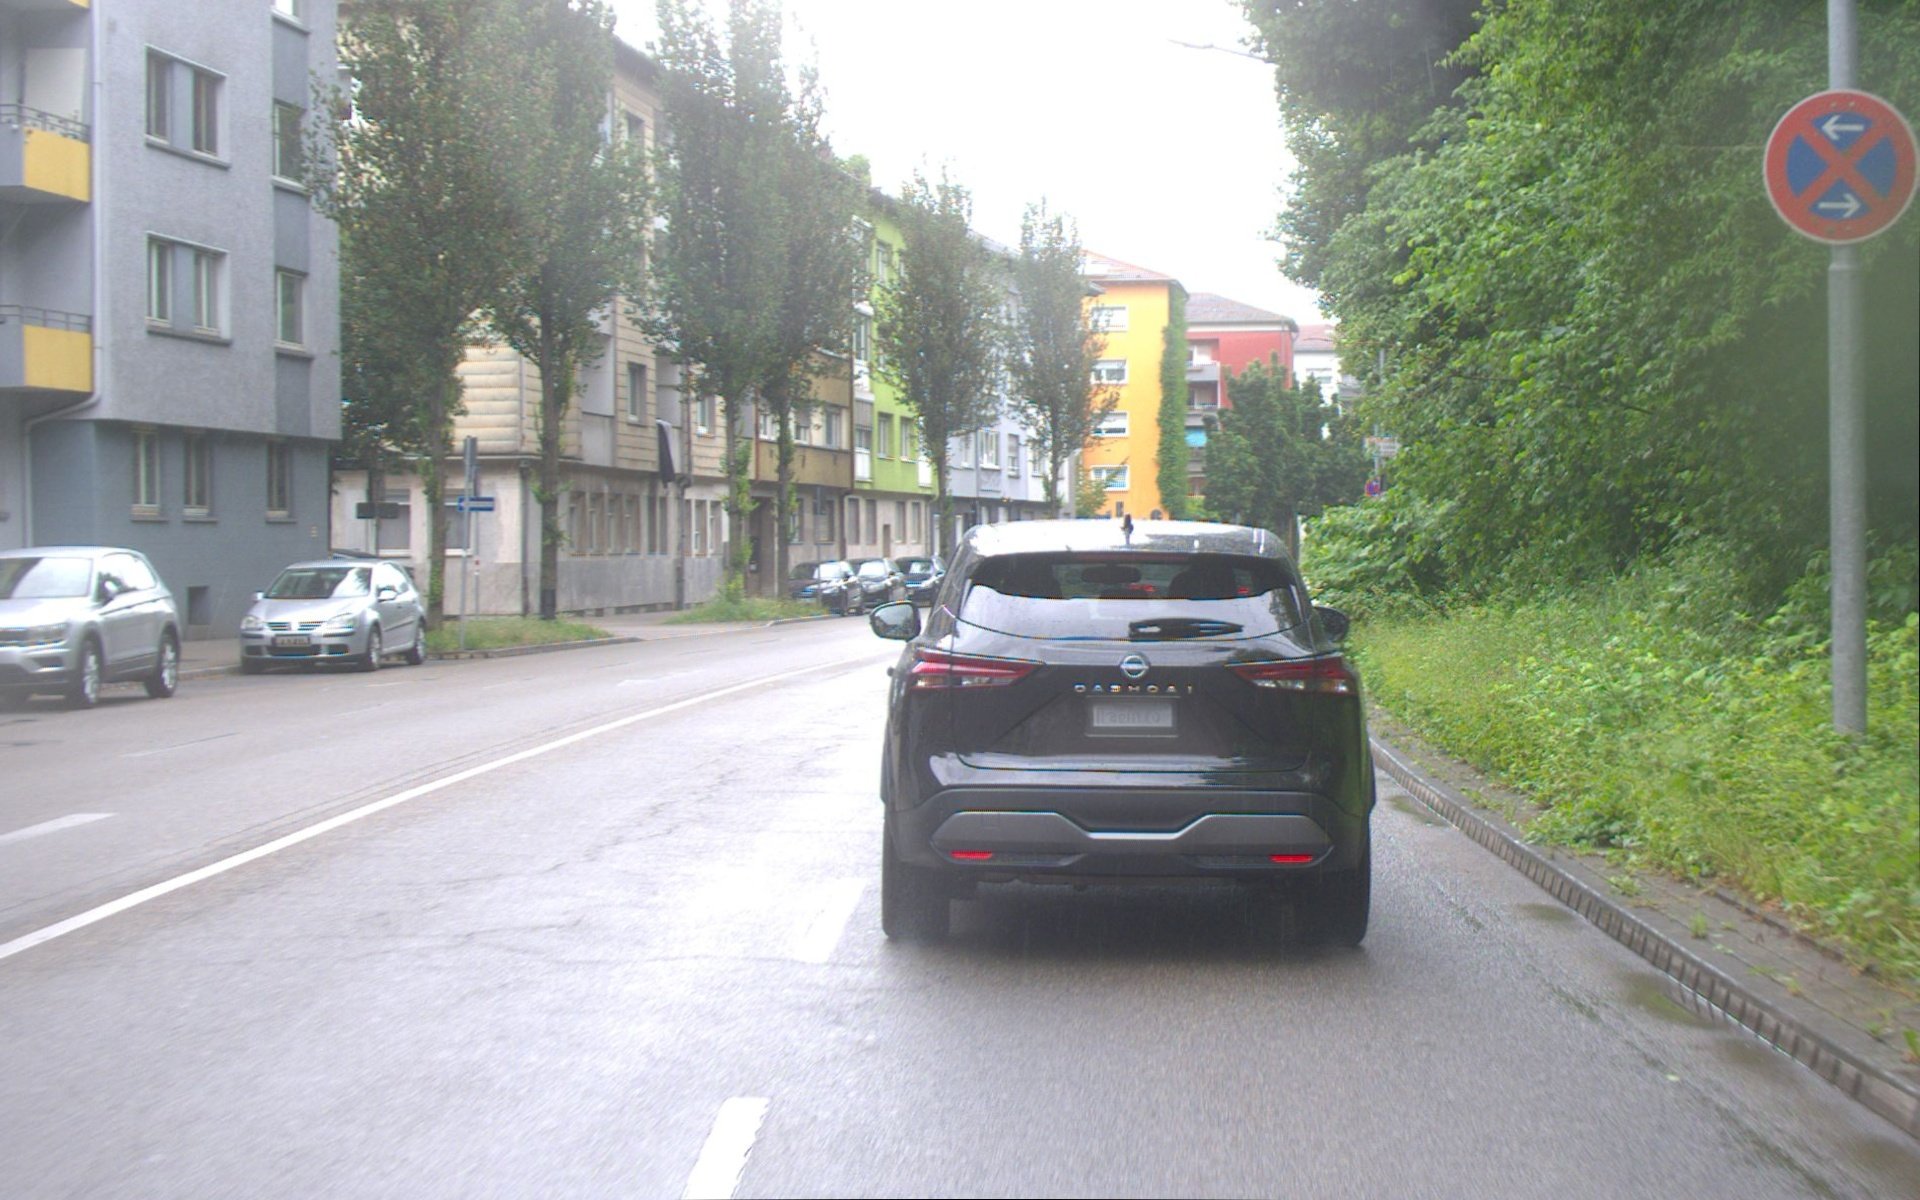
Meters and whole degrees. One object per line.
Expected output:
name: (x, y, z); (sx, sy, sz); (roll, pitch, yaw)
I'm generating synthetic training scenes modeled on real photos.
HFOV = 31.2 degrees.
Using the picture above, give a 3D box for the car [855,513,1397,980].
car: (0.648, 0.466, 13.917); (1.845, 1.577, 4.000); (1, 1, 2)

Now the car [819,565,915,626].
car: (-2.462, -0.138, 91.965); (1.818, 1.483, 4.789); (-2, 1, 7)

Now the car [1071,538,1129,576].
car: (5.761, -1.784, 141.118); (1.681, 1.444, 4.274); (-3, 0, 11)

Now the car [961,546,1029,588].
car: (1.213, -1.147, 117.885); (1.680, 1.371, 3.999); (-2, 0, 9)

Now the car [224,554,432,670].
car: (-8.362, 0.129, 45.850); (1.724, 1.448, 4.205); (-1, 1, 4)

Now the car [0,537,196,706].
car: (-9.297, 0.179, 35.012); (1.764, 1.598, 4.533); (-1, 1, 3)

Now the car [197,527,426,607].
car: (-13.127, -0.674, 69.672); (4.150, 1.573, 1.926); (0, 1, 8)

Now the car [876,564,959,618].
car: (-1.230, -0.284, 101.131); (1.719, 1.483, 4.513); (-2, 1, 8)

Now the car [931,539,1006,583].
car: (0.298, -1.284, 112.350); (1.818, 1.368, 4.679); (-2, 1, 7)

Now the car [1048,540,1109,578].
car: (4.686, -1.622, 135.482); (1.689, 1.353, 4.577); (-3, 0, 10)

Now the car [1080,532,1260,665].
car: (2.884, -0.046, 46.472); (1.888, 1.705, 3.998); (1, 1, 11)

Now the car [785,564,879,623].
car: (-3.171, -0.172, 85.618); (1.626, 1.382, 3.987); (-1, 1, 8)
